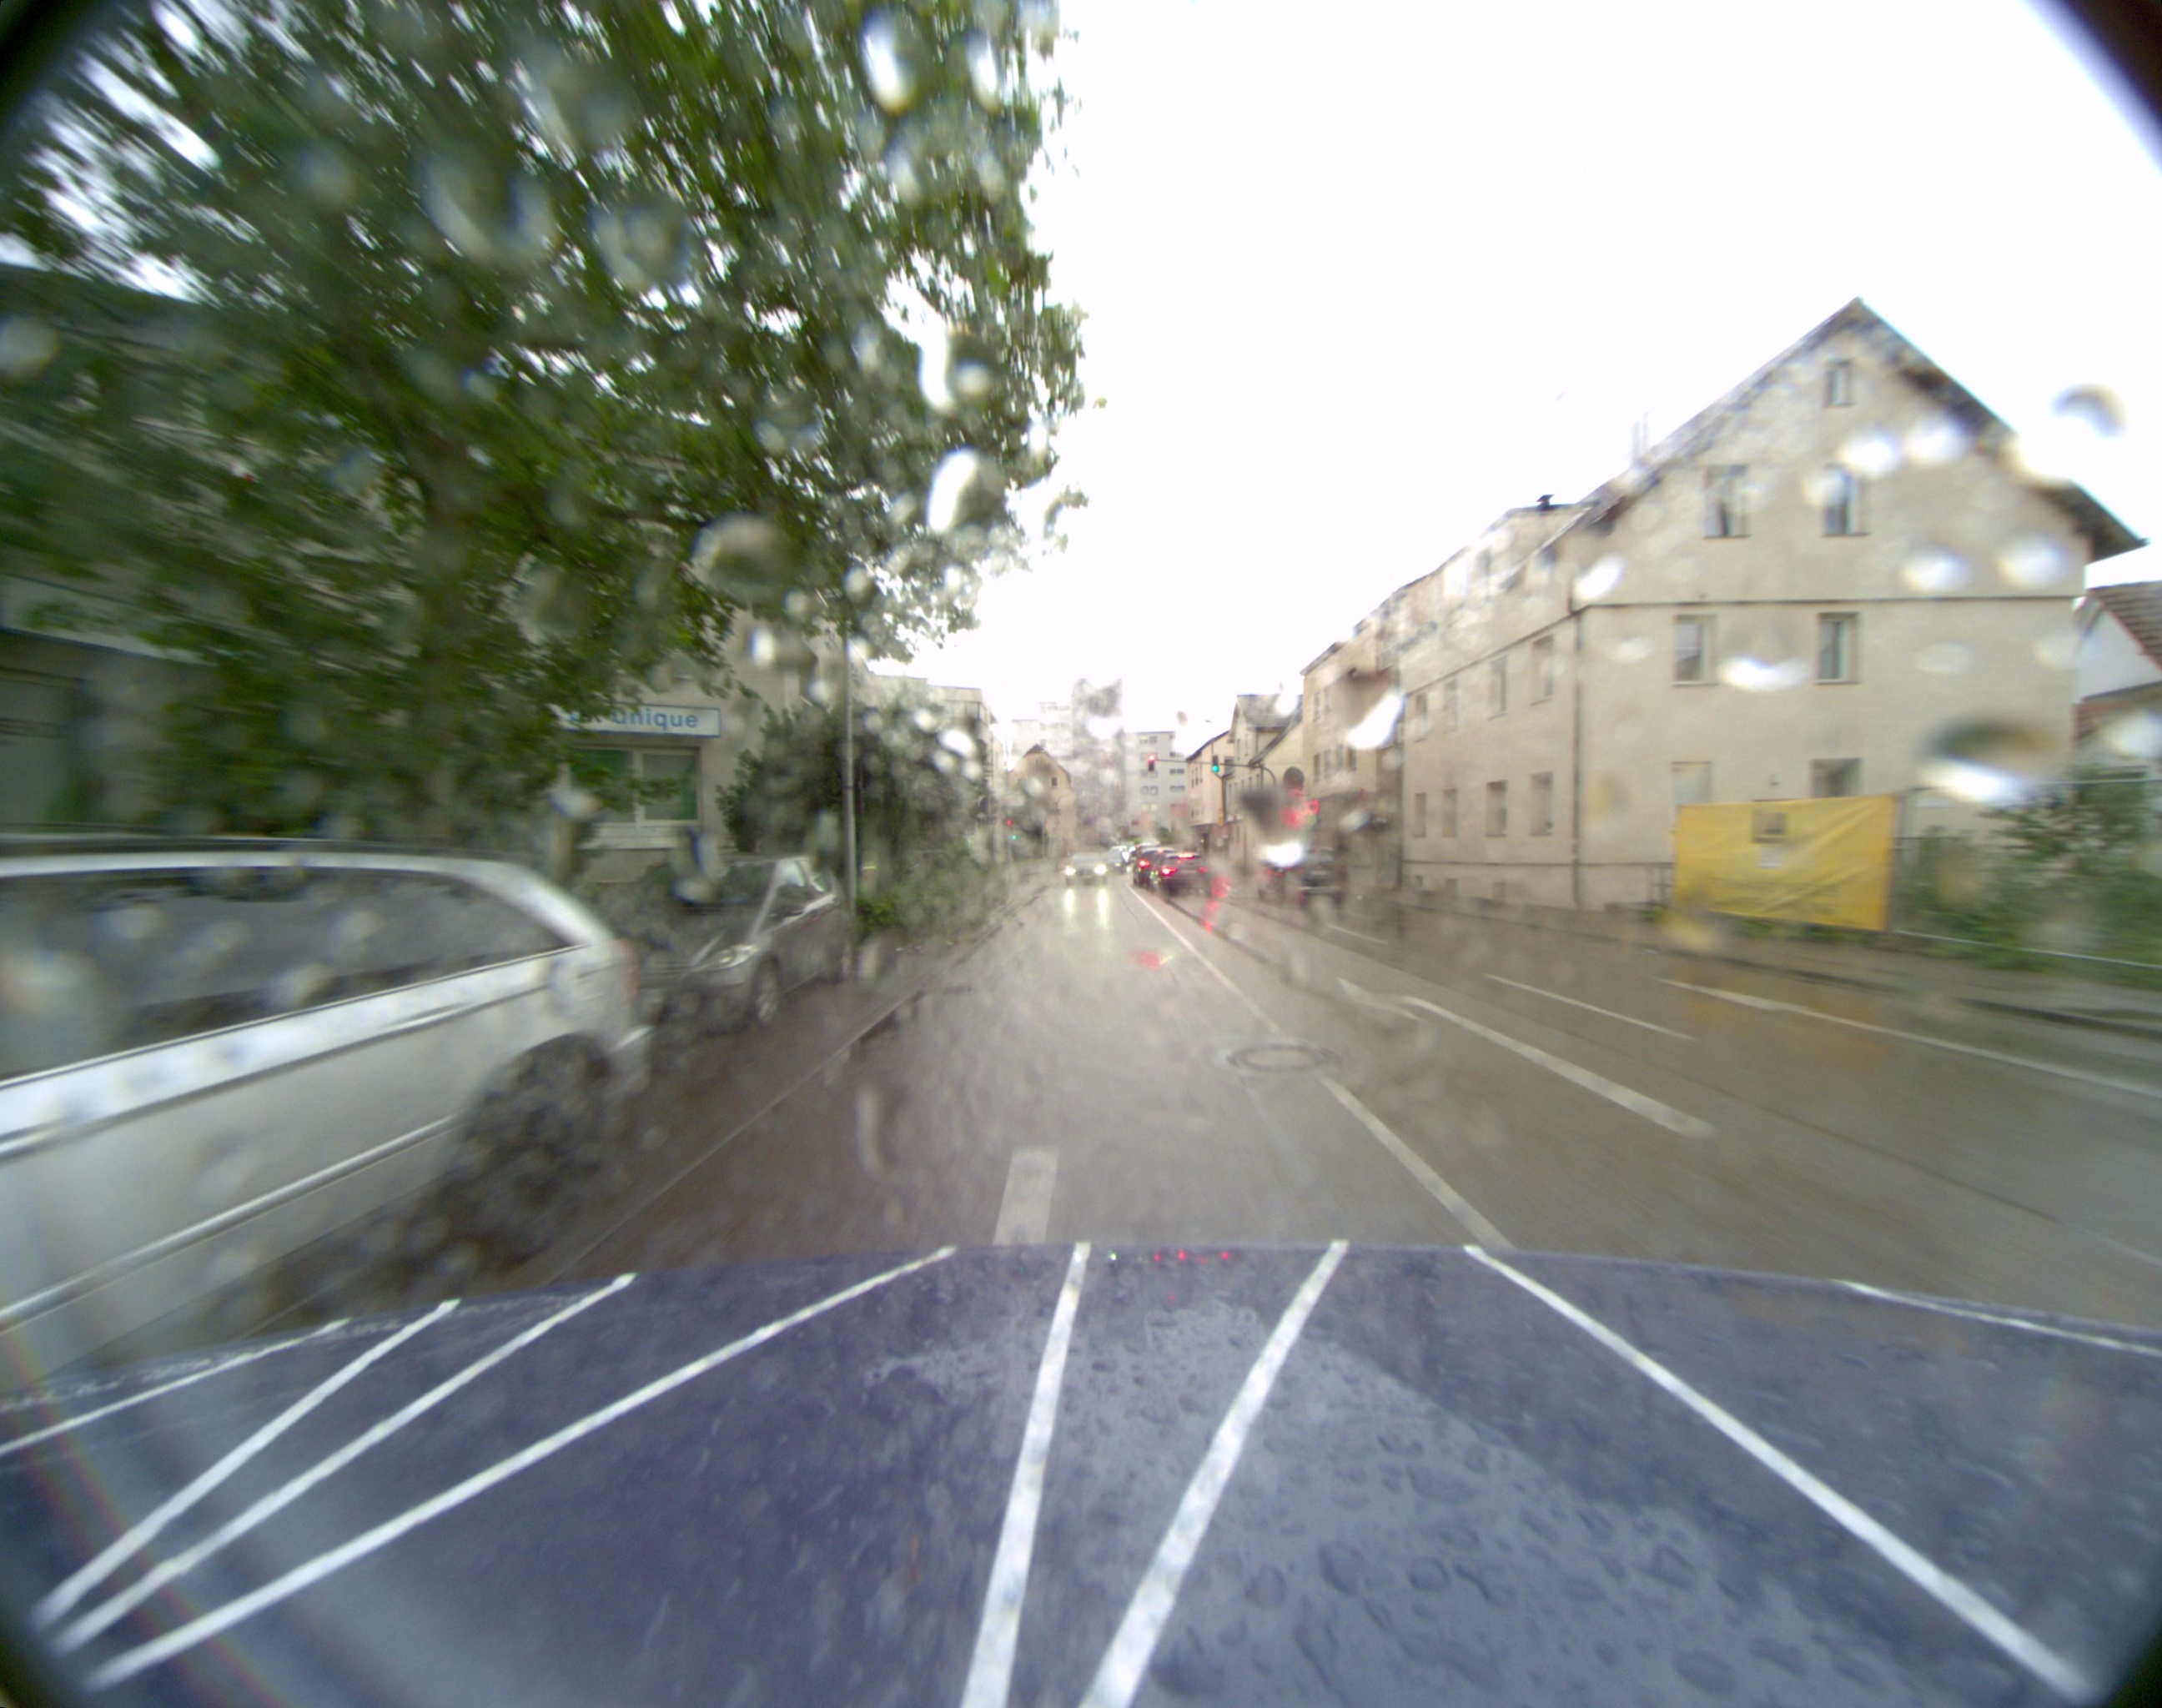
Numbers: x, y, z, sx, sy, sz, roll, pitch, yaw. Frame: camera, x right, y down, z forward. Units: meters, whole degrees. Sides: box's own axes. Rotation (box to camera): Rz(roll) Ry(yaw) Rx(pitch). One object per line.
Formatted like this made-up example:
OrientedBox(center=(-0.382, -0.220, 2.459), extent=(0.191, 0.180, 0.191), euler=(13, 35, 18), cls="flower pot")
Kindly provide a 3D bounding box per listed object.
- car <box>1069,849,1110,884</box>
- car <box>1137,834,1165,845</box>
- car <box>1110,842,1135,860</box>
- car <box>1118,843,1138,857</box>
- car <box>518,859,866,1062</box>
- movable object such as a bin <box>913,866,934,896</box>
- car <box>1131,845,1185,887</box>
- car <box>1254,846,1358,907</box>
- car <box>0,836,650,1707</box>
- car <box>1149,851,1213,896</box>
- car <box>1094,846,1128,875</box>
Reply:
OrientedBox(center=(0.385, 0.546, 36.473), extent=(1.820, 1.562, 4.275), euler=(-1, 0, 0), cls="car")
OrientedBox(center=(9.021, -1.874, 97.743), extent=(1.683, 1.452, 4.008), euler=(0, 1, 35), cls="car")
OrientedBox(center=(3.382, -0.247, 61.445), extent=(1.685, 1.413, 4.002), euler=(-1, 1, 8), cls="car")
OrientedBox(center=(5.050, -0.450, 81.179), extent=(1.685, 1.452, 4.002), euler=(-1, 1, 10), cls="car")
OrientedBox(center=(-3.627, 0.852, 7.979), extent=(1.714, 1.563, 3.913), euler=(0, 0, -1), cls="car")
OrientedBox(center=(-4.878, 0.850, 23.555), extent=(0.482, 0.904, 0.492), euler=(-1, -2, 12), cls="movable object such as a bin")
OrientedBox(center=(3.193, 0.487, 32.410), extent=(1.820, 1.635, 4.275), euler=(-1, 0, 0), cls="car")
OrientedBox(center=(6.254, 0.561, 21.613), extent=(1.820, 1.562, 4.275), euler=(0, 1, 2), cls="car")
OrientedBox(center=(-3.161, 0.848, 1.361), extent=(1.935, 1.770, 4.734), euler=(0, 0, 2), cls="car")
OrientedBox(center=(3.354, 0.618, 26.021), extent=(1.711, 1.375, 3.669), euler=(-1, 1, 0), cls="car")
OrientedBox(center=(1.852, 0.367, 47.418), extent=(1.998, 1.652, 4.000), euler=(-2, 1, 2), cls="car")
